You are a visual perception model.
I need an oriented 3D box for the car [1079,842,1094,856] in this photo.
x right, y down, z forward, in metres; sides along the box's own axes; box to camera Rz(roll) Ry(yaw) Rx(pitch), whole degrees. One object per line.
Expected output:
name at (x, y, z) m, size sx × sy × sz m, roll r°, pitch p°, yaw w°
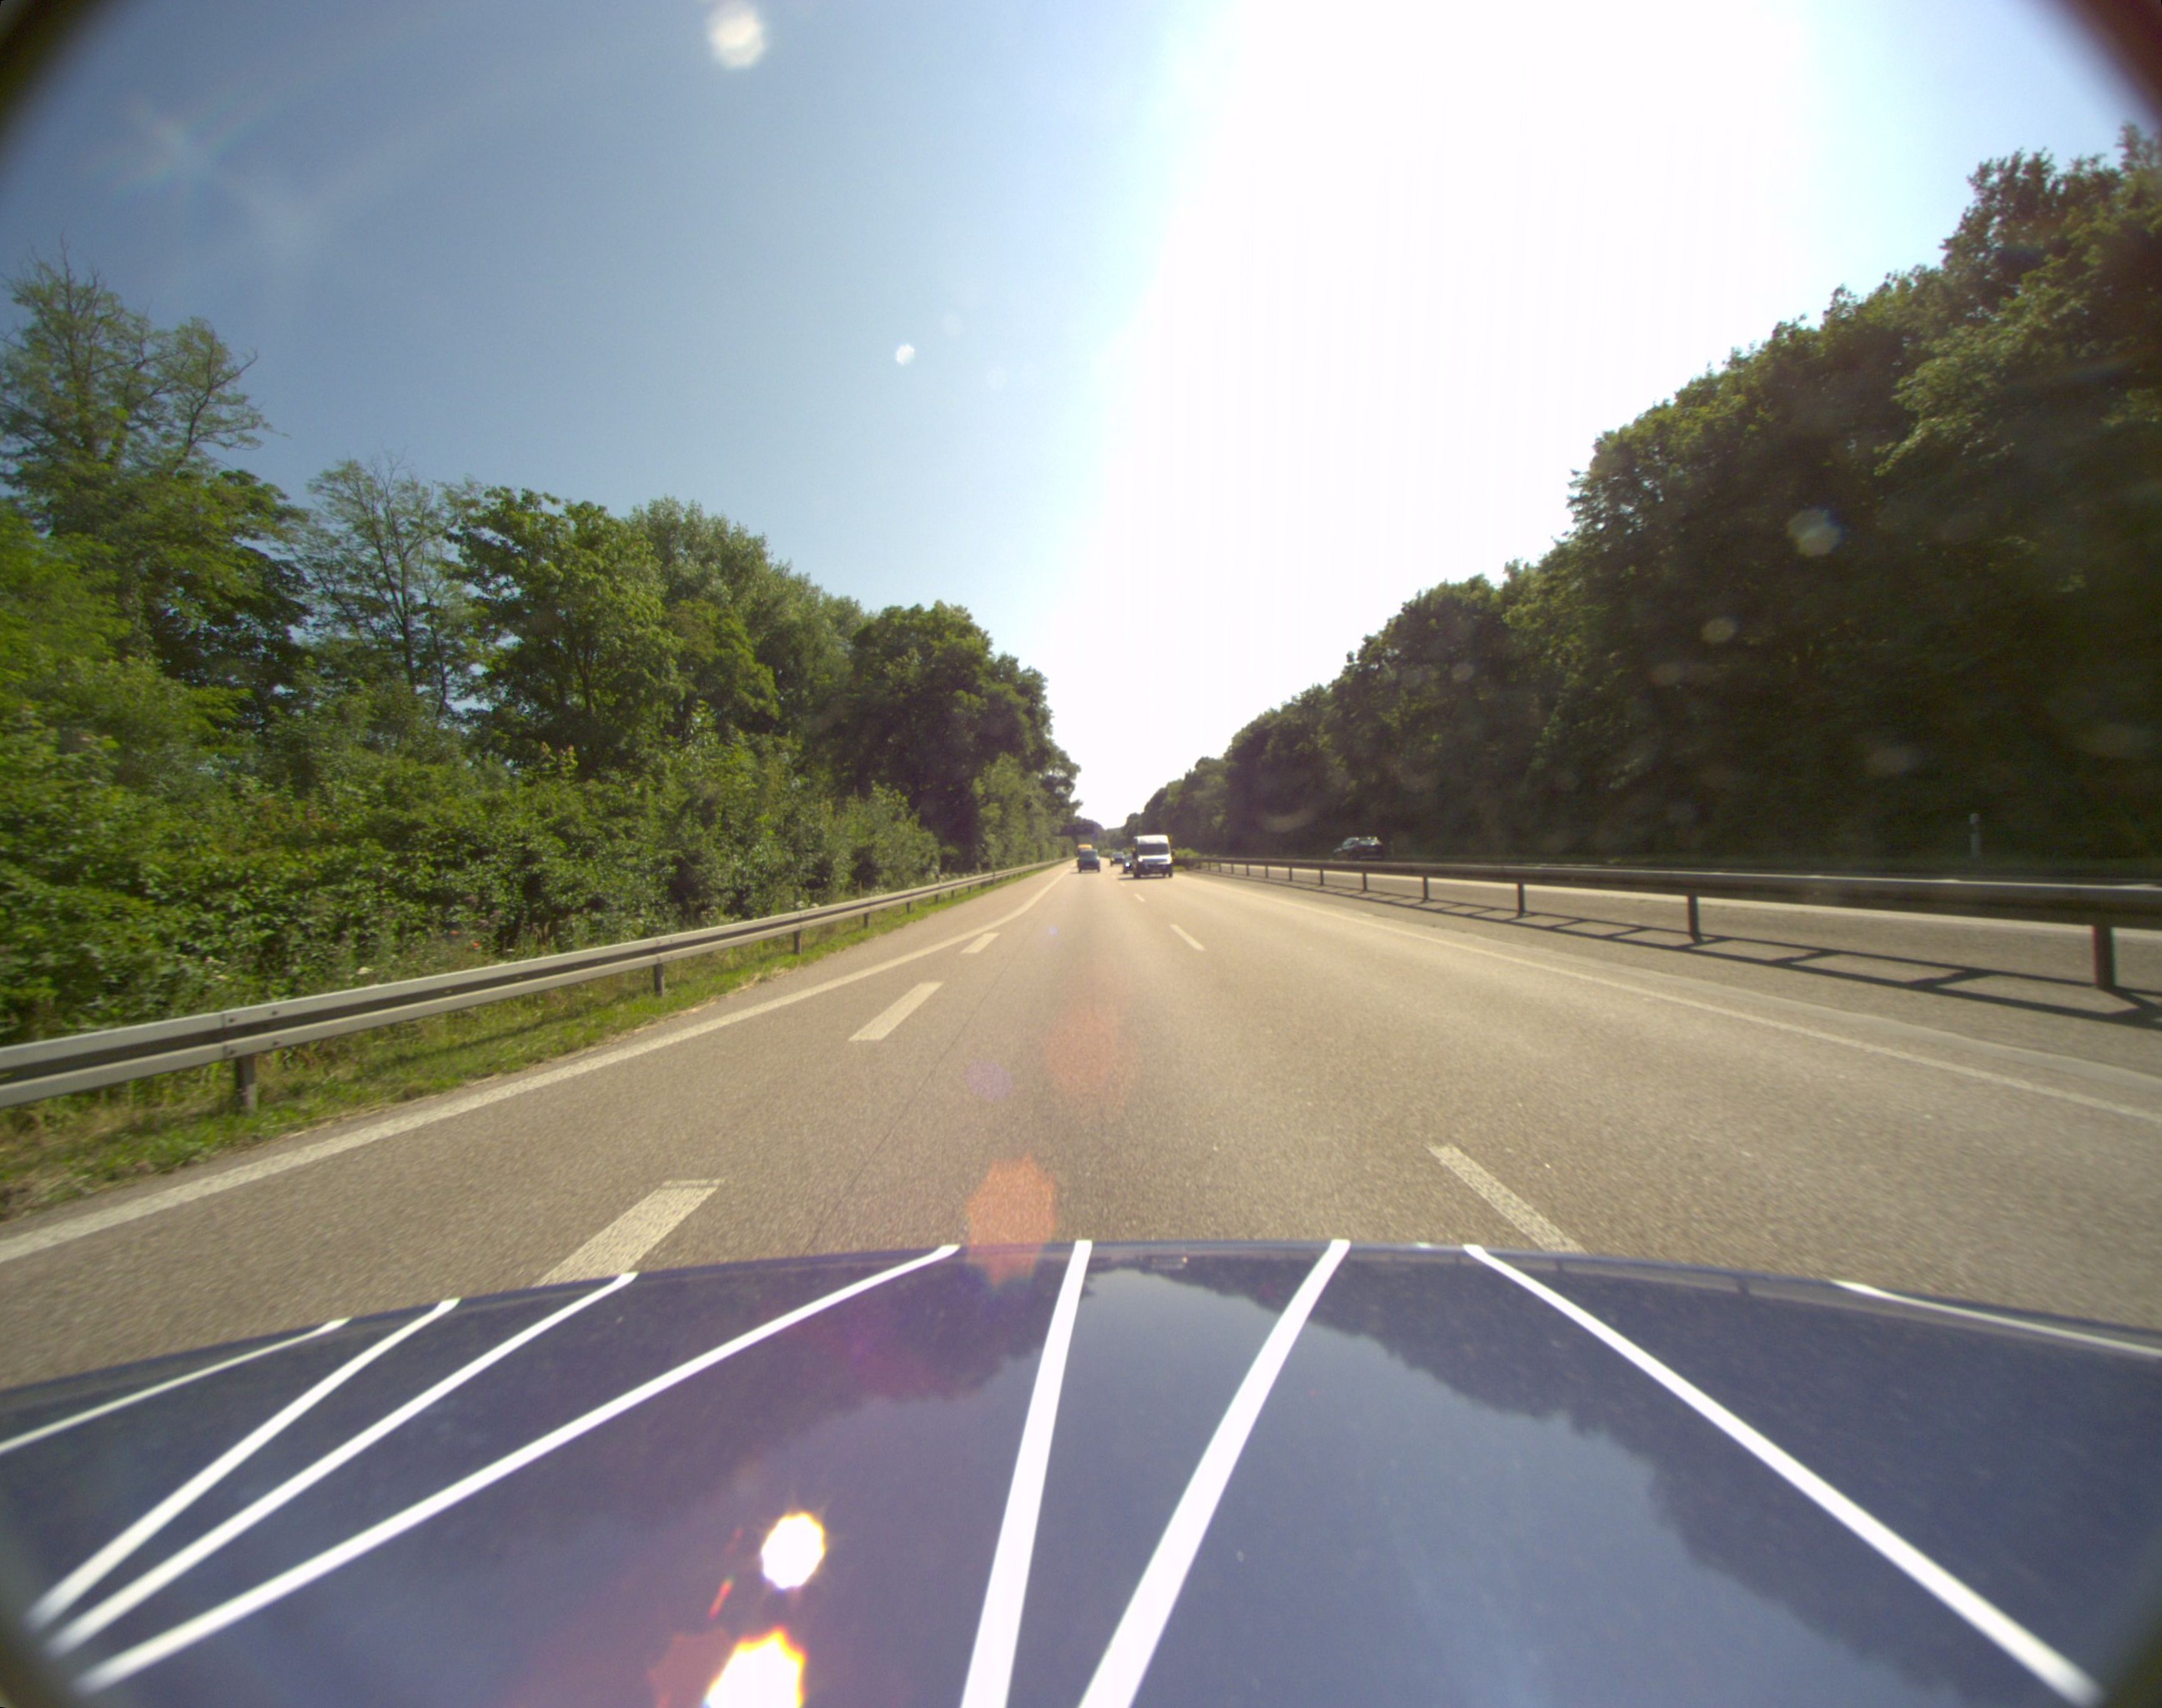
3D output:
car at (0.643, -0.627, 91.366) m, size 1.737 × 1.624 × 3.899 m, roll -3°, pitch 1°, yaw 1°

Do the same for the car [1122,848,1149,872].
car at (4.001, 0.438, 56.276) m, size 1.666 × 1.624 × 3.644 m, roll -3°, pitch 1°, yaw 1°

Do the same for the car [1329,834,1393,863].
car at (15.904, -0.327, 43.416) m, size 1.847 × 1.501 × 4.550 m, roll -3°, pitch 1°, yaw -1°

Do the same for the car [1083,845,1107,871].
car at (1.082, 0.284, 61.922) m, size 1.812 × 1.921 × 4.581 m, roll -3°, pitch 1°, yaw 0°

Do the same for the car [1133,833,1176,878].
car at (4.251, 0.046, 44.671) m, size 2.046 × 2.429 × 4.637 m, roll -3°, pitch 1°, yaw 0°

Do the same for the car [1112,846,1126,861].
car at (4.428, -0.051, 89.091) m, size 1.517 × 1.624 × 3.611 m, roll -3°, pitch 1°, yaw 1°
